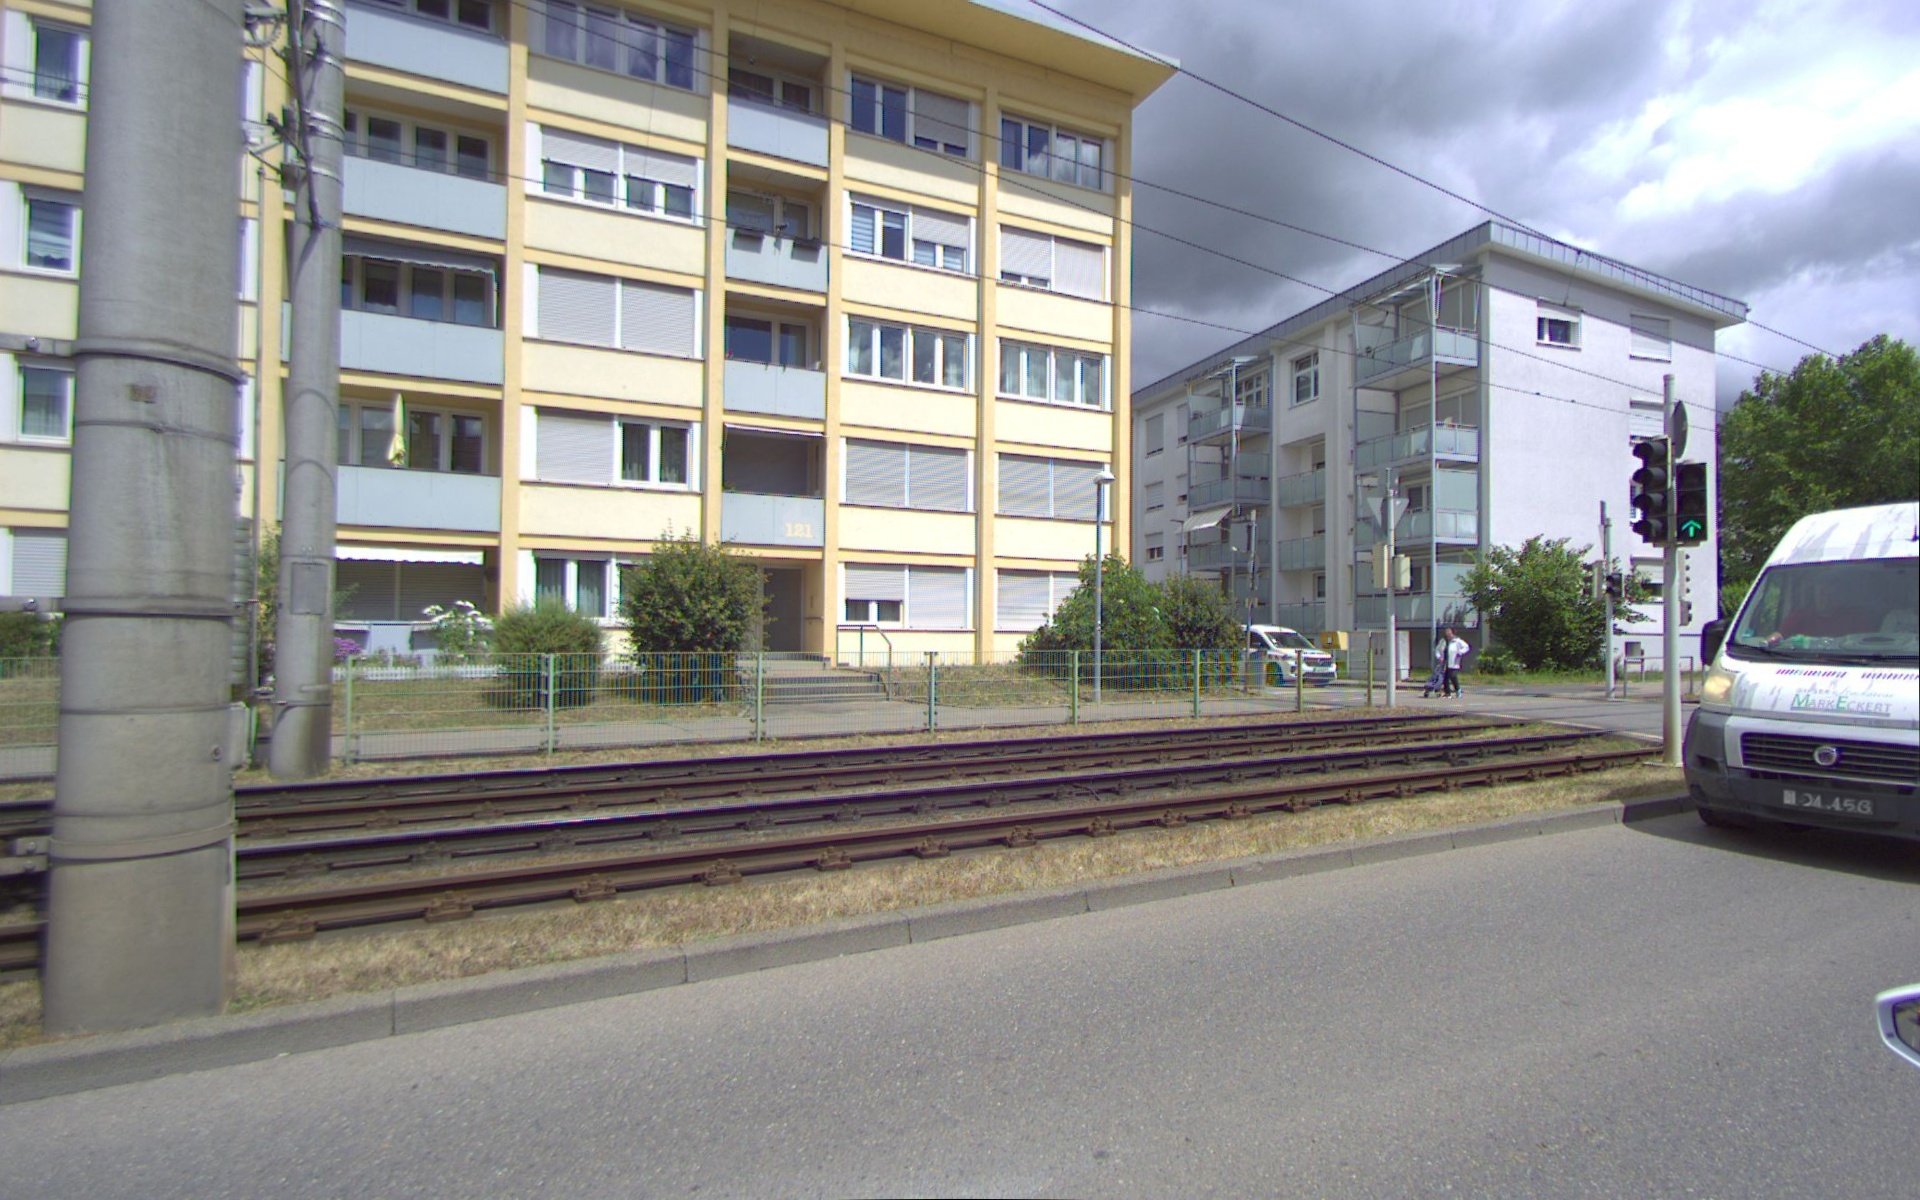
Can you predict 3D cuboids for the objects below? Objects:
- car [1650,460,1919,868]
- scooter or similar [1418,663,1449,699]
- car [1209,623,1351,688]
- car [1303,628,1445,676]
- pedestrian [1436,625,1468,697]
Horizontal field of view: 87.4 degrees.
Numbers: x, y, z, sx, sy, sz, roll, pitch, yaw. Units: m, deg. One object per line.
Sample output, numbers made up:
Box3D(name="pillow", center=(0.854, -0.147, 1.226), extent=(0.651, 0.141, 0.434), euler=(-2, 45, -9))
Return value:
Box3D(name="car", center=(7.708, 0.423, 7.606), extent=(5.319, 2.391, 2.003), euler=(1, 0, -30))
Box3D(name="scooter or similar", center=(10.593, 1.808, 22.483), extent=(0.468, 0.757, 0.436), euler=(1, -1, -26))
Box3D(name="car", center=(9.454, 1.597, 29.971), extent=(1.970, 1.673, 3.980), euler=(1, 0, -21))
Box3D(name="car", center=(12.849, 1.580, 31.391), extent=(1.874, 1.363, 3.979), euler=(1, -2, -22))
Box3D(name="pedestrian", center=(11.112, 1.390, 22.688), extent=(0.468, 1.601, 0.436), euler=(3, -5, -25))
